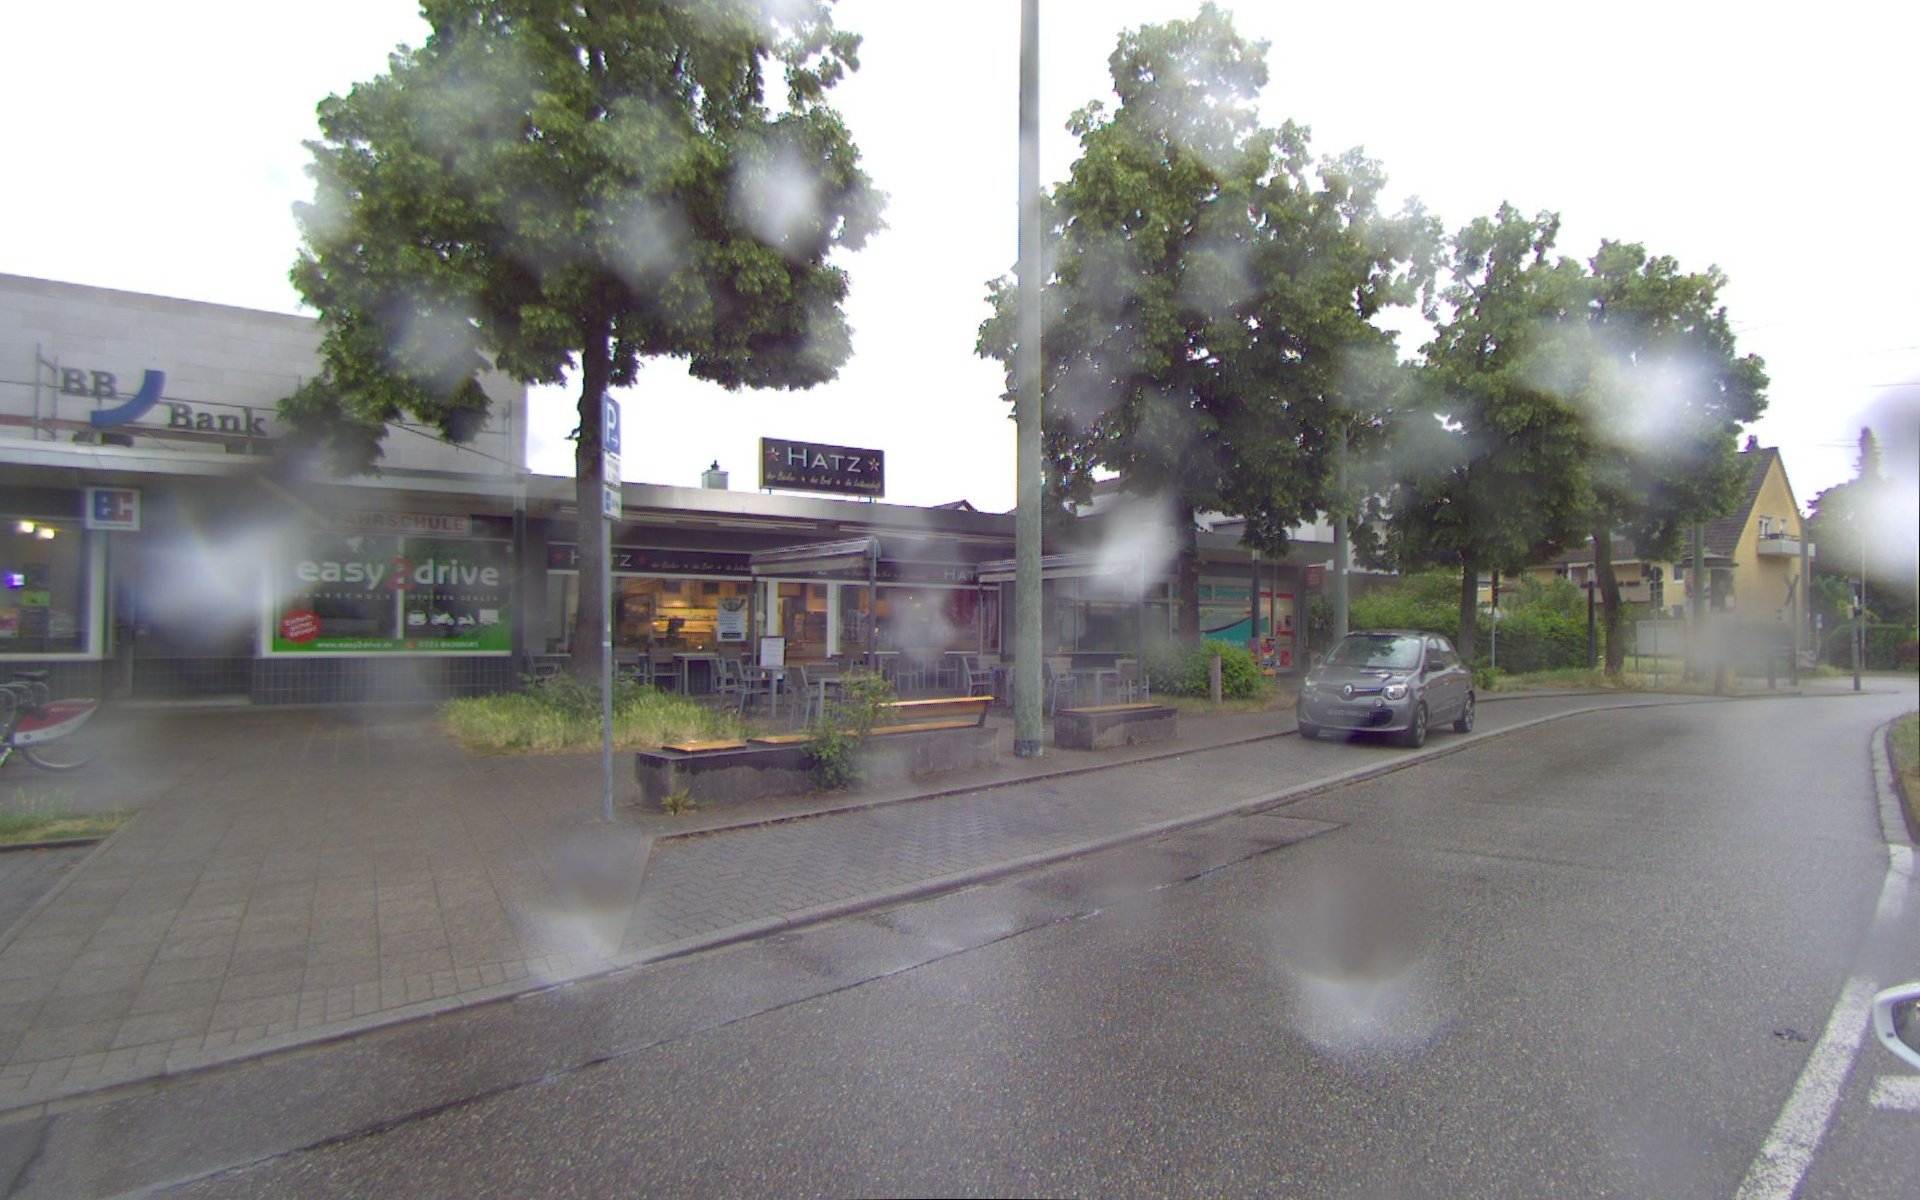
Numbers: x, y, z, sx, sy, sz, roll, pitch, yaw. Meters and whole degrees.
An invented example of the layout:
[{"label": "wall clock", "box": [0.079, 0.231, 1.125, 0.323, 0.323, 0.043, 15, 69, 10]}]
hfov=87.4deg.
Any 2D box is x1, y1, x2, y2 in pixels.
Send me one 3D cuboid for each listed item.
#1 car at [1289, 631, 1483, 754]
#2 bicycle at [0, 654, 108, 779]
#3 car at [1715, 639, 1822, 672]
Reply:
[{"label": "car", "box": [6.373, 1.245, 14.823, 1.598, 1.516, 3.649, 2, 0, 40]}, {"label": "bicycle", "box": [-9.008, 1.081, 9.247, 0.314, 1.122, 1.739, 2, 0, 43]}, {"label": "car", "box": [41.952, 2.862, 52.186, 1.815, 1.476, 3.960, 2, 0, -35]}]
